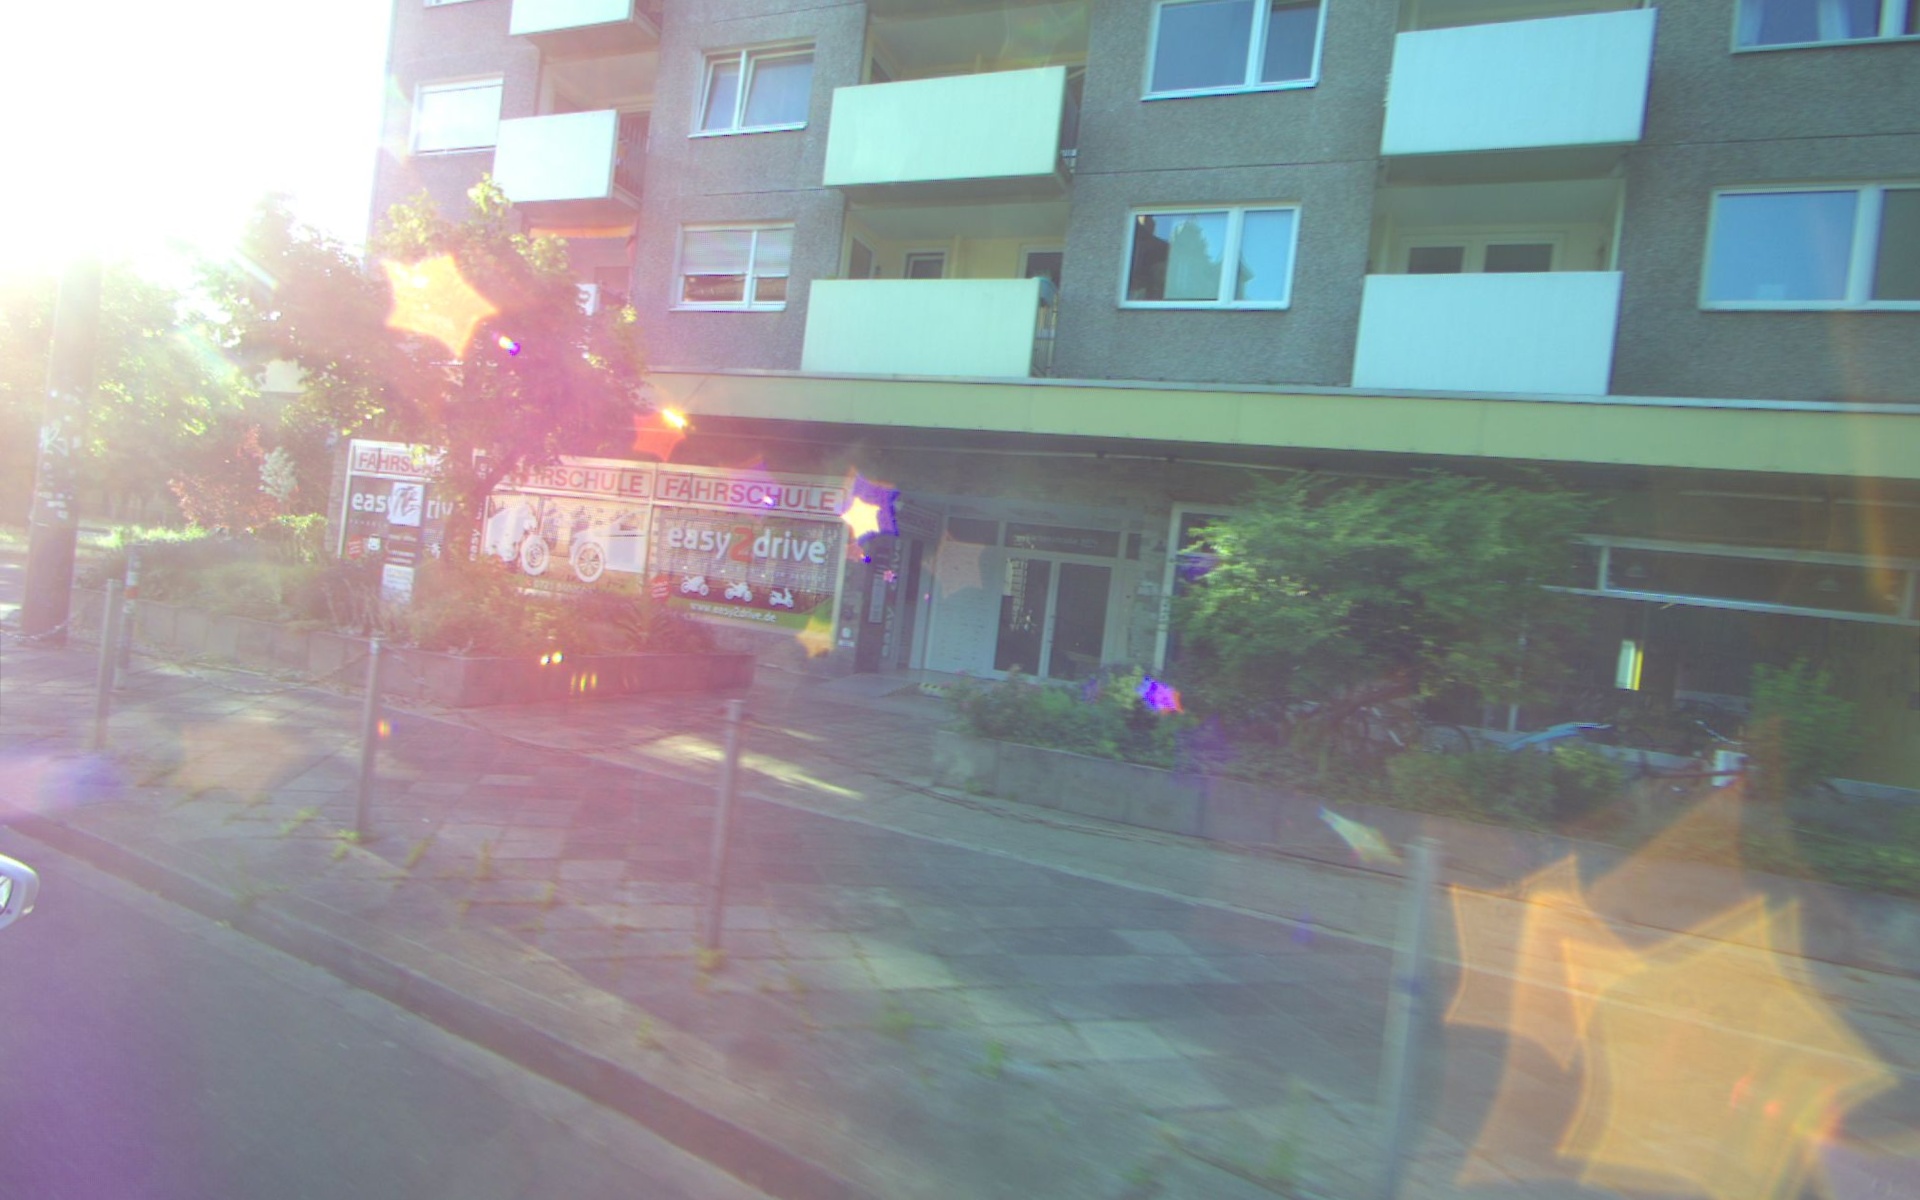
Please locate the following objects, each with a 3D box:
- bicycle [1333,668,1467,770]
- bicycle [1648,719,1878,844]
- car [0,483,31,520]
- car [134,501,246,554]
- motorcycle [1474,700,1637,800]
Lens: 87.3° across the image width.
[{"bbox_3d":[5.047,1.355,11.603,1.300,0.954,0.432,7,1,22],"label":"bicycle"},{"bbox_3d":[8.074,1.804,10.202,1.621,0.910,0.644,7,1,22],"label":"bicycle"},{"bbox_3d":[-42.589,-4.465,42.970,1.661,1.471,3.985,7,0,37],"label":"car"},{"bbox_3d":[-38.589,-3.630,50.482,1.904,2.039,3.988,7,0,35],"label":"car"},{"bbox_3d":[6.233,1.555,10.594,1.342,0.805,0.433,7,1,22],"label":"motorcycle"}]
